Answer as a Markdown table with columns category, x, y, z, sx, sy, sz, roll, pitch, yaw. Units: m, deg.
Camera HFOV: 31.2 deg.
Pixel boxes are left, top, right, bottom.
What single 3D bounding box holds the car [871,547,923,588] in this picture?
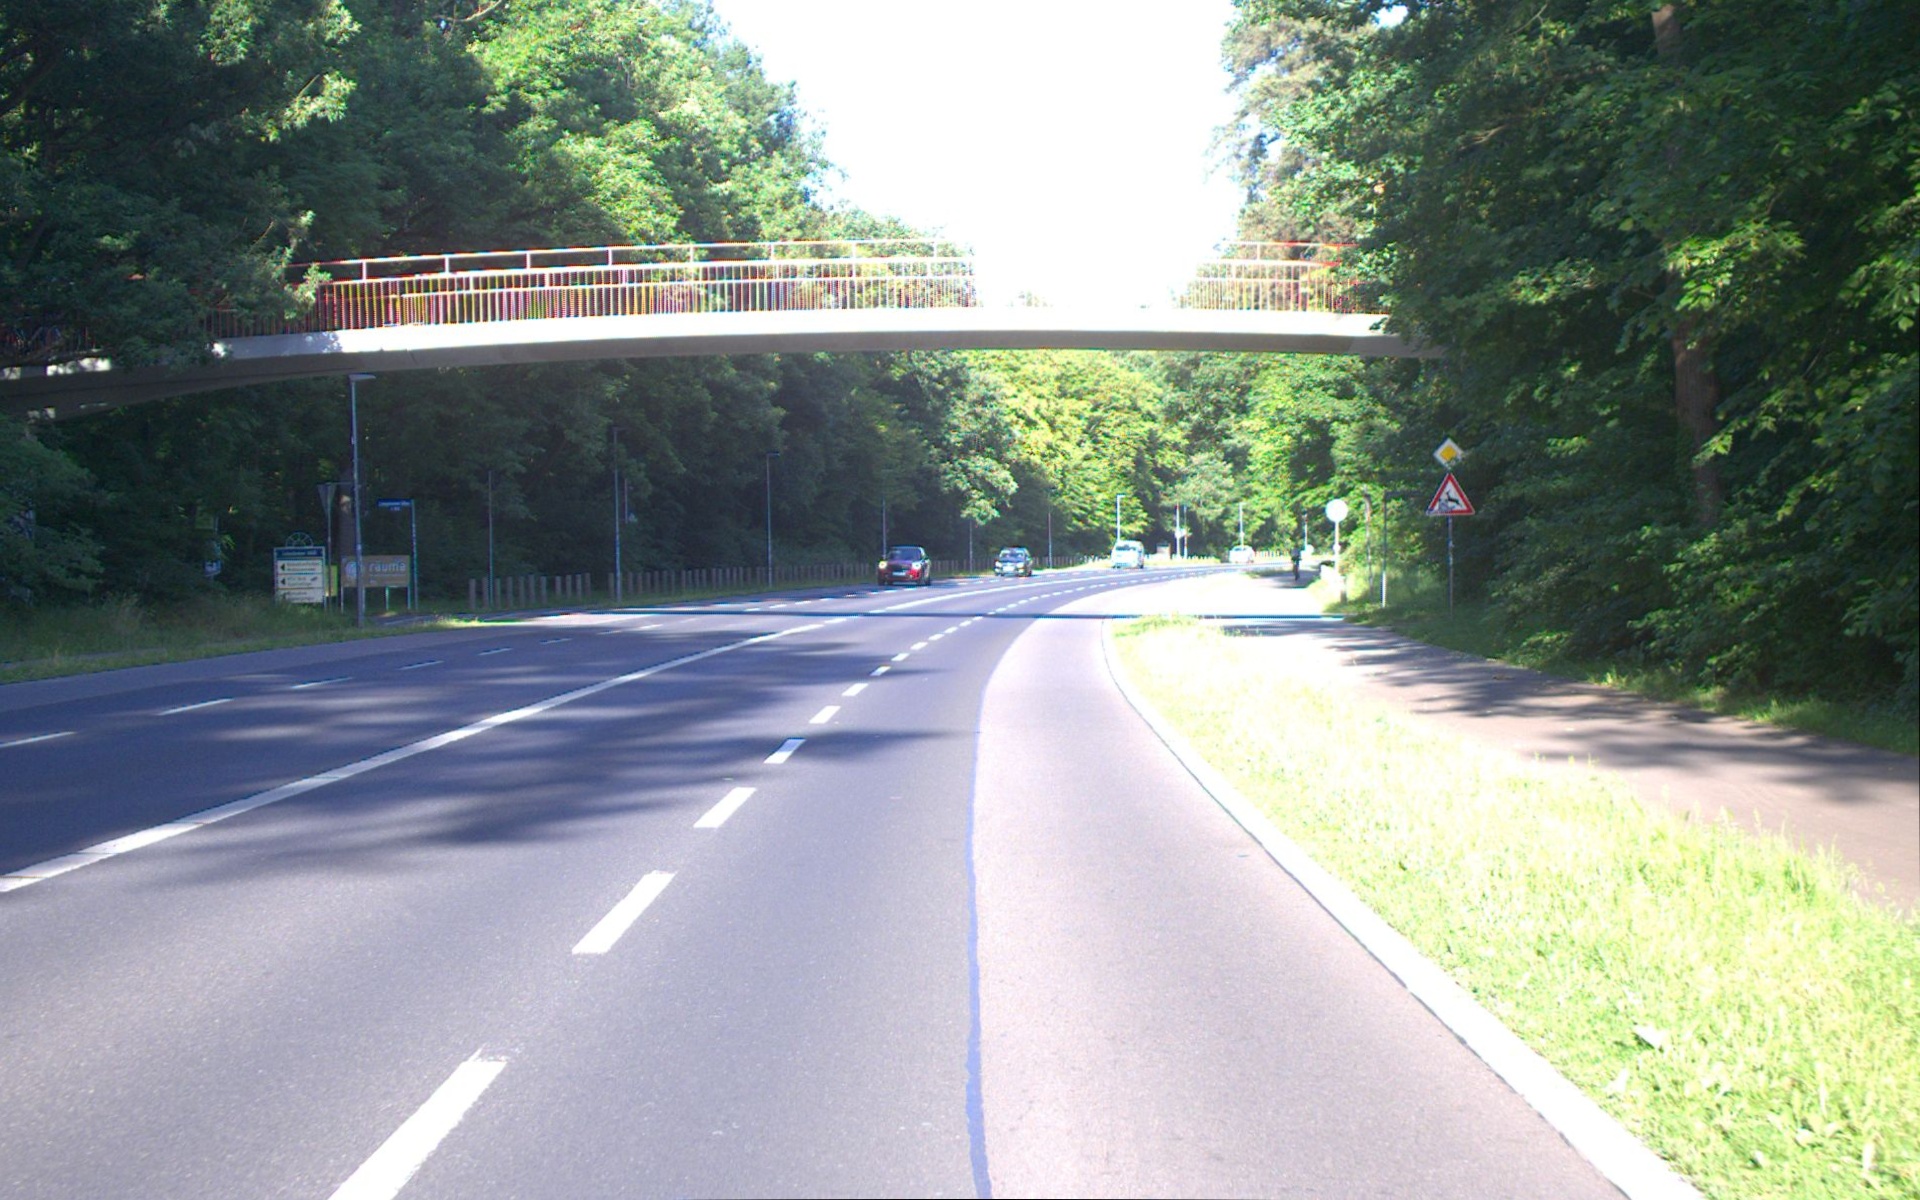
| category | x | y | z | sx | sy | sz | roll | pitch | yaw |
| --- | --- | --- | --- | --- | --- | --- | --- | --- | --- |
| car | -2.524 | -1.339 | 138.483 | 1.762 | 1.577 | 4.168 | 1 | 1 | 4 |

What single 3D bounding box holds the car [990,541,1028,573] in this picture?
| category | x | y | z | sx | sy | sz | roll | pitch | yaw |
| --- | --- | --- | --- | --- | --- | --- | --- | --- | --- |
| car | 2.544 | -2.231 | 177.653 | 1.723 | 1.568 | 4.177 | 2 | 1 | 4 |

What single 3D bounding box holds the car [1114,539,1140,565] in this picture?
| category | x | y | z | sx | sy | sz | roll | pitch | yaw |
| --- | --- | --- | --- | --- | --- | --- | --- | --- | --- |
| car | 11.116 | -3.216 | 229.173 | 1.705 | 1.703 | 4.000 | 0 | 1 | 3 |
